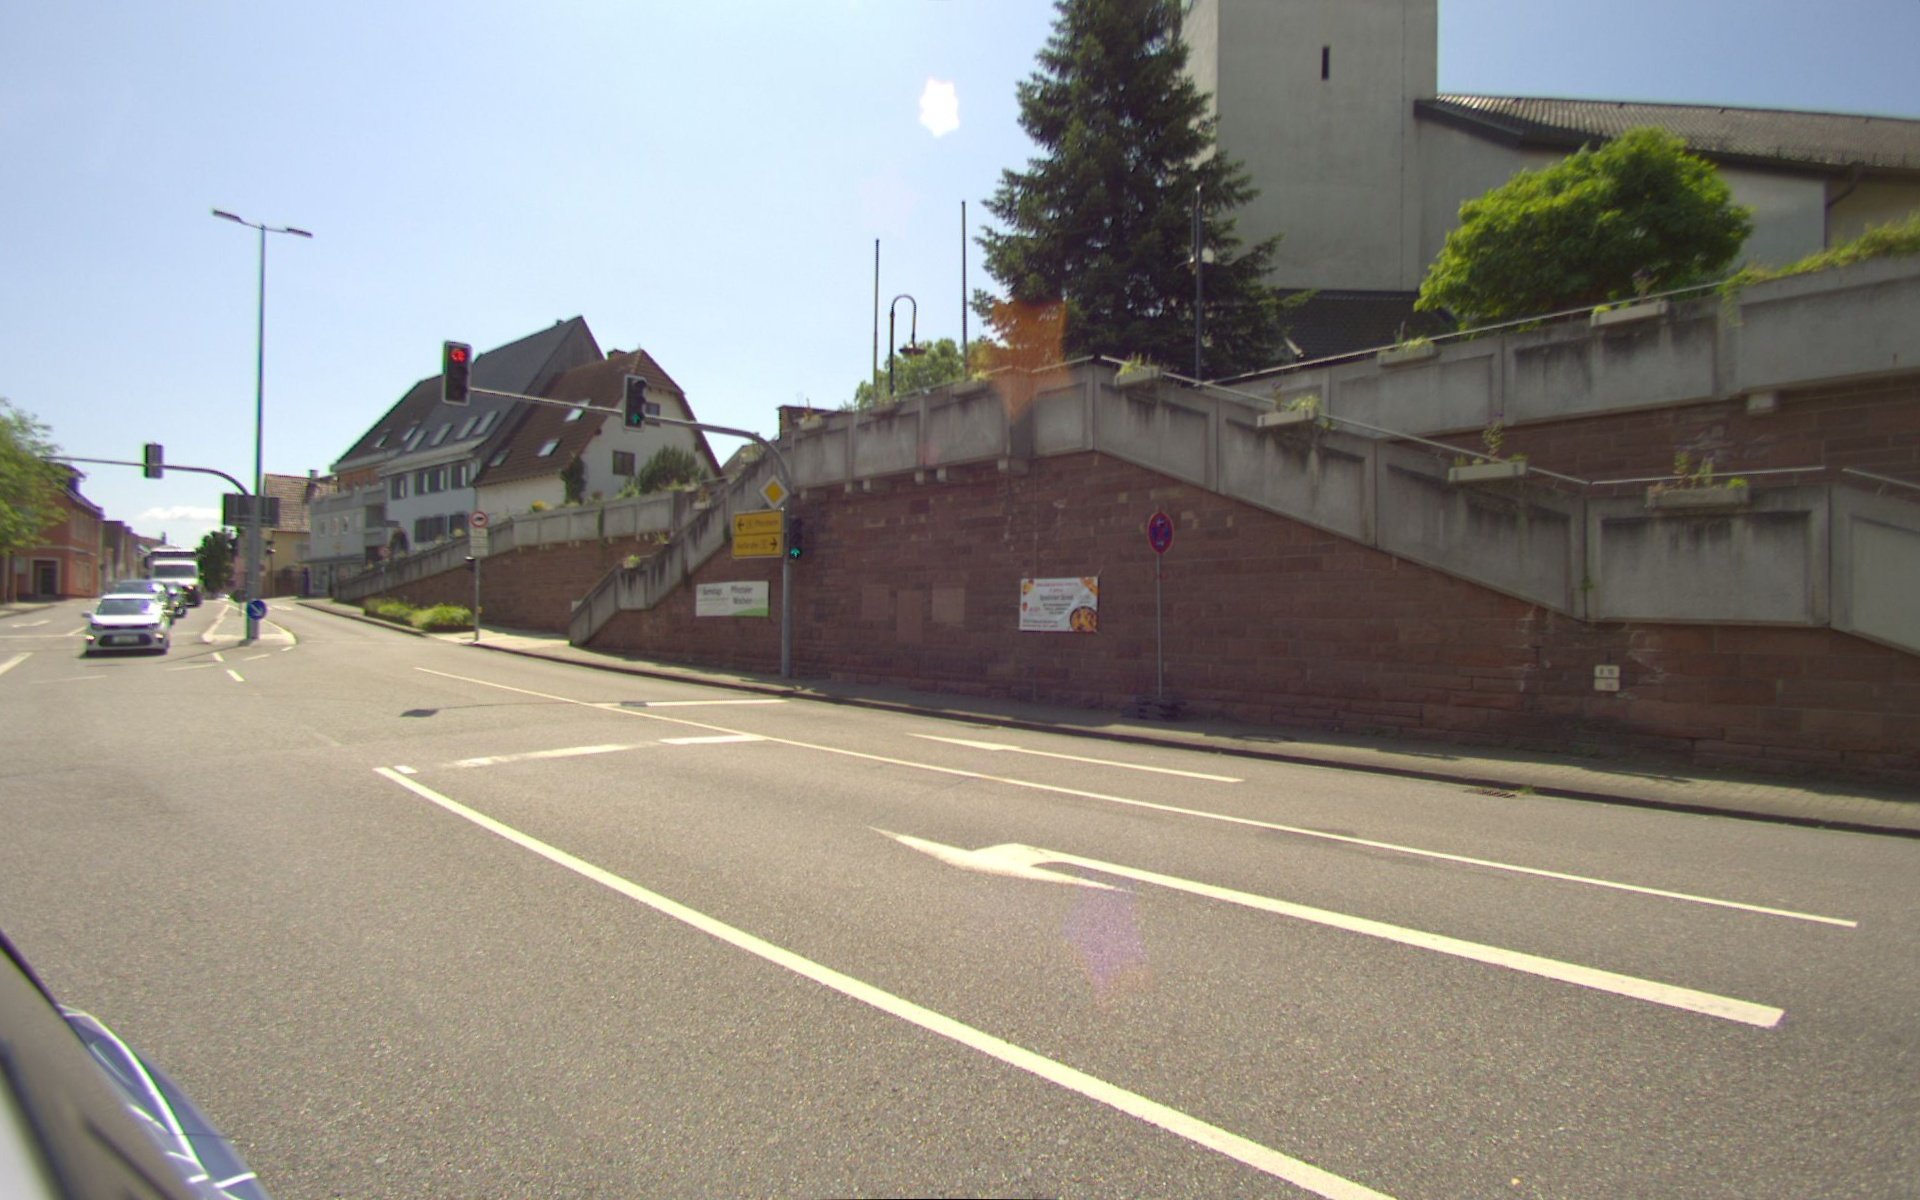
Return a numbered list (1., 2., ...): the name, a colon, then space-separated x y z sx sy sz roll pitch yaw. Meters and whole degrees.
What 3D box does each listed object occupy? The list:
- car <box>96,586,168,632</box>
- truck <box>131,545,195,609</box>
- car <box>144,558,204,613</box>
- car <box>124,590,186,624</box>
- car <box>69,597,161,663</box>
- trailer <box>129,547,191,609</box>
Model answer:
1. car: -30.150 0.321 36.950 1.697 1.562 4.314 0 0 -35
2. truck: -47.870 -1.299 60.730 2.805 3.597 5.477 1 -2 -40
3. car: -39.868 -0.663 51.455 2.140 2.583 4.836 1 -2 -35
4. car: -33.793 0.285 42.572 1.899 1.376 4.313 -1 0 -37
5. car: -21.771 0.721 26.104 1.699 1.562 4.310 0 0 -40
6. trailer: -52.074 -1.252 65.737 2.795 3.597 10.983 1 -2 -40
